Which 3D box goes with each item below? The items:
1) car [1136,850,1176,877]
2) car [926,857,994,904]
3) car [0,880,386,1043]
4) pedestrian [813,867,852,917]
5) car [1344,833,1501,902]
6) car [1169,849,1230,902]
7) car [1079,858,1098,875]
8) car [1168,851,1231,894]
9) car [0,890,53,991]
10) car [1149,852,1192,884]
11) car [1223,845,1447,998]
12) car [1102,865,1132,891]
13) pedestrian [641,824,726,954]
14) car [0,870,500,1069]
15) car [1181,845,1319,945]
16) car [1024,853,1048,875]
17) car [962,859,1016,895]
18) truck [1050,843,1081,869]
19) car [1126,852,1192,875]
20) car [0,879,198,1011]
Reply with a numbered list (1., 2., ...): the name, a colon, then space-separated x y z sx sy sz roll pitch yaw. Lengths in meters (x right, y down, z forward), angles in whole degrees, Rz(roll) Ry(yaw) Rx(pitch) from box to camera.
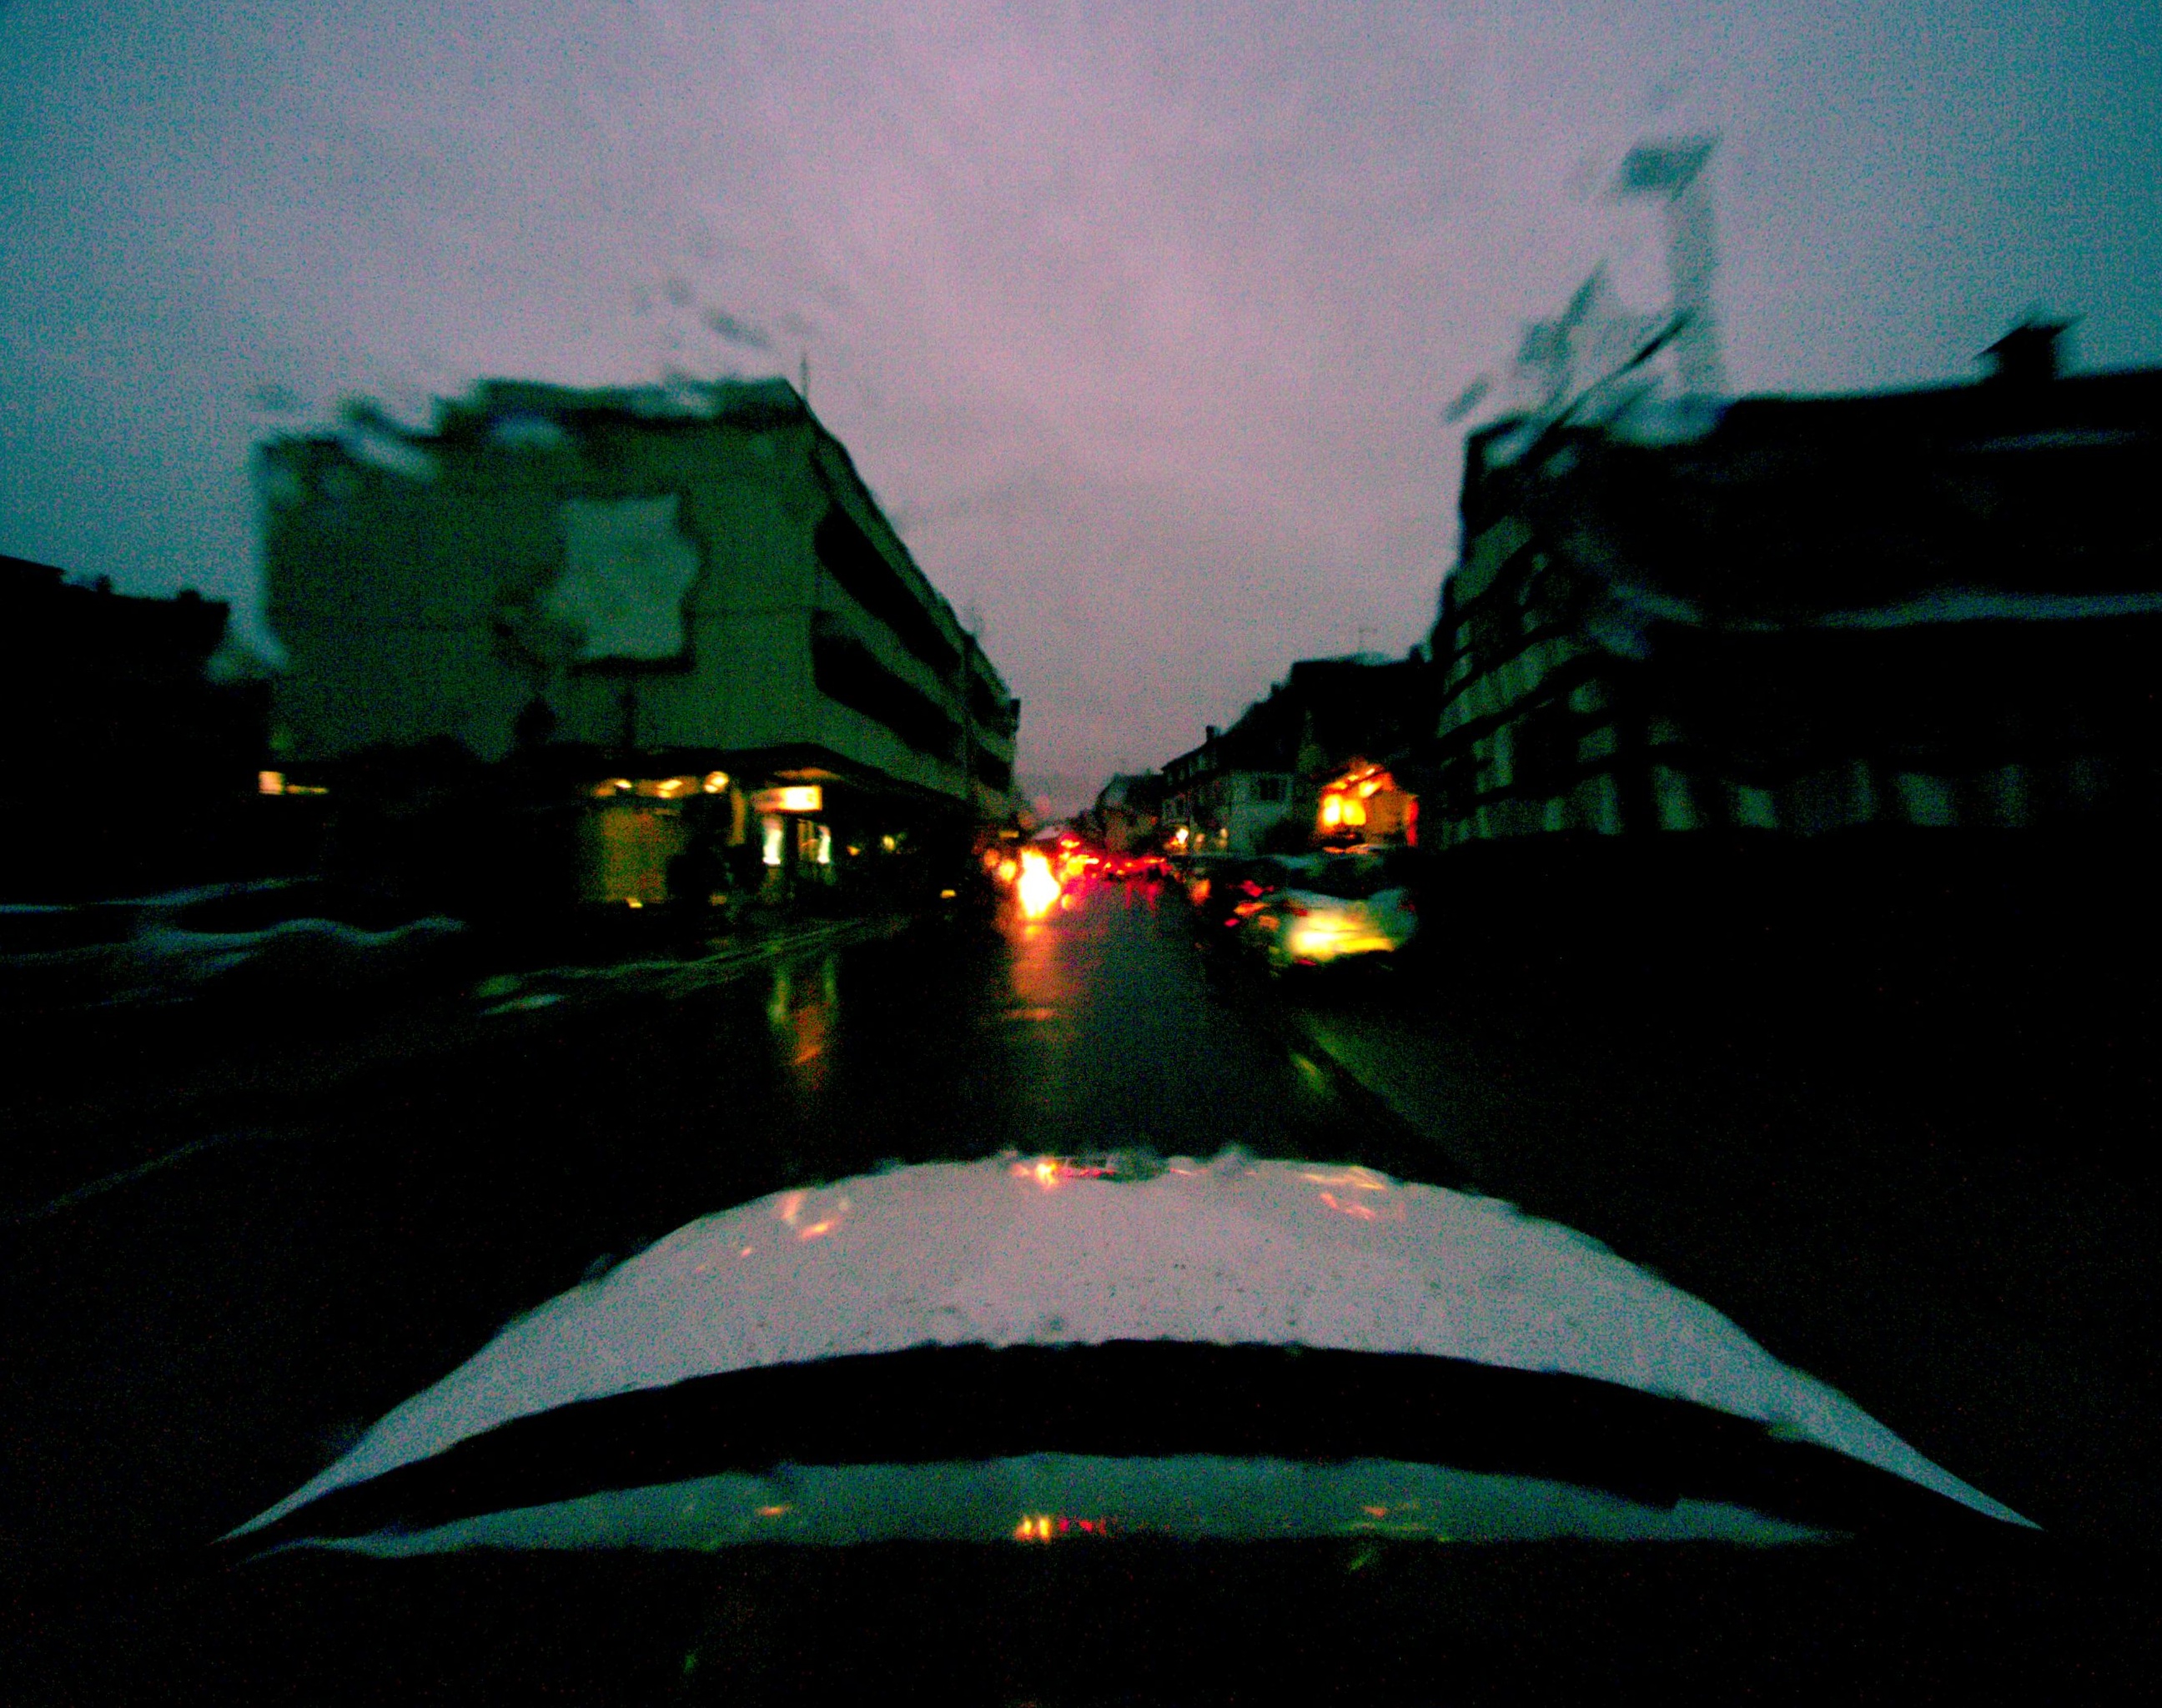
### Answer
1. car: 4.651 0.583 51.072 1.878 1.547 4.667 -2 0 -2
2. car: -4.248 0.884 29.126 1.608 1.533 3.932 0 0 4
3. car: -11.667 1.193 10.243 1.689 1.400 4.457 -2 1 5
4. pedestrian: -6.596 0.997 21.678 0.753 1.310 0.828 0 -1 1
5. car: 8.681 0.343 20.912 3.277 1.441 1.687 -4 -1 1
6. car: 3.680 0.639 25.753 1.619 1.441 3.805 -4 -1 5
7. car: 0.675 1.109 72.925 1.633 1.481 3.270 0 0 0
8. car: 4.470 0.687 31.355 1.816 1.423 4.610 -4 -1 2
9. car: -17.084 1.376 10.482 1.688 1.464 4.462 -2 1 9
10. car: 4.579 0.708 42.213 1.787 1.460 4.533 -3 0 2
11. car: 2.932 0.699 10.306 1.725 1.459 4.003 -4 -1 3
12. car: 2.087 1.375 48.030 1.633 1.481 3.378 0 -1 0
13. pedestrian: -6.316 0.513 12.920 0.981 1.938 1.189 -2 0 -36
14. car: -9.177 1.070 9.335 1.758 1.499 4.450 -2 1 0
15. car: 3.014 0.683 15.465 1.757 1.526 4.391 -4 -1 2
16. car: -3.626 0.757 64.698 1.791 1.642 3.805 0 0 -5
17. car: -3.871 0.938 34.834 1.669 1.446 4.430 0 0 2
18. truck: -2.021 0.222 101.447 3.013 3.128 7.980 0 0 -7
19. car: 5.674 0.690 59.356 4.462 1.473 1.894 -3 0 -7
20. car: -14.413 1.229 9.625 2.091 1.499 5.054 -2 1 6
